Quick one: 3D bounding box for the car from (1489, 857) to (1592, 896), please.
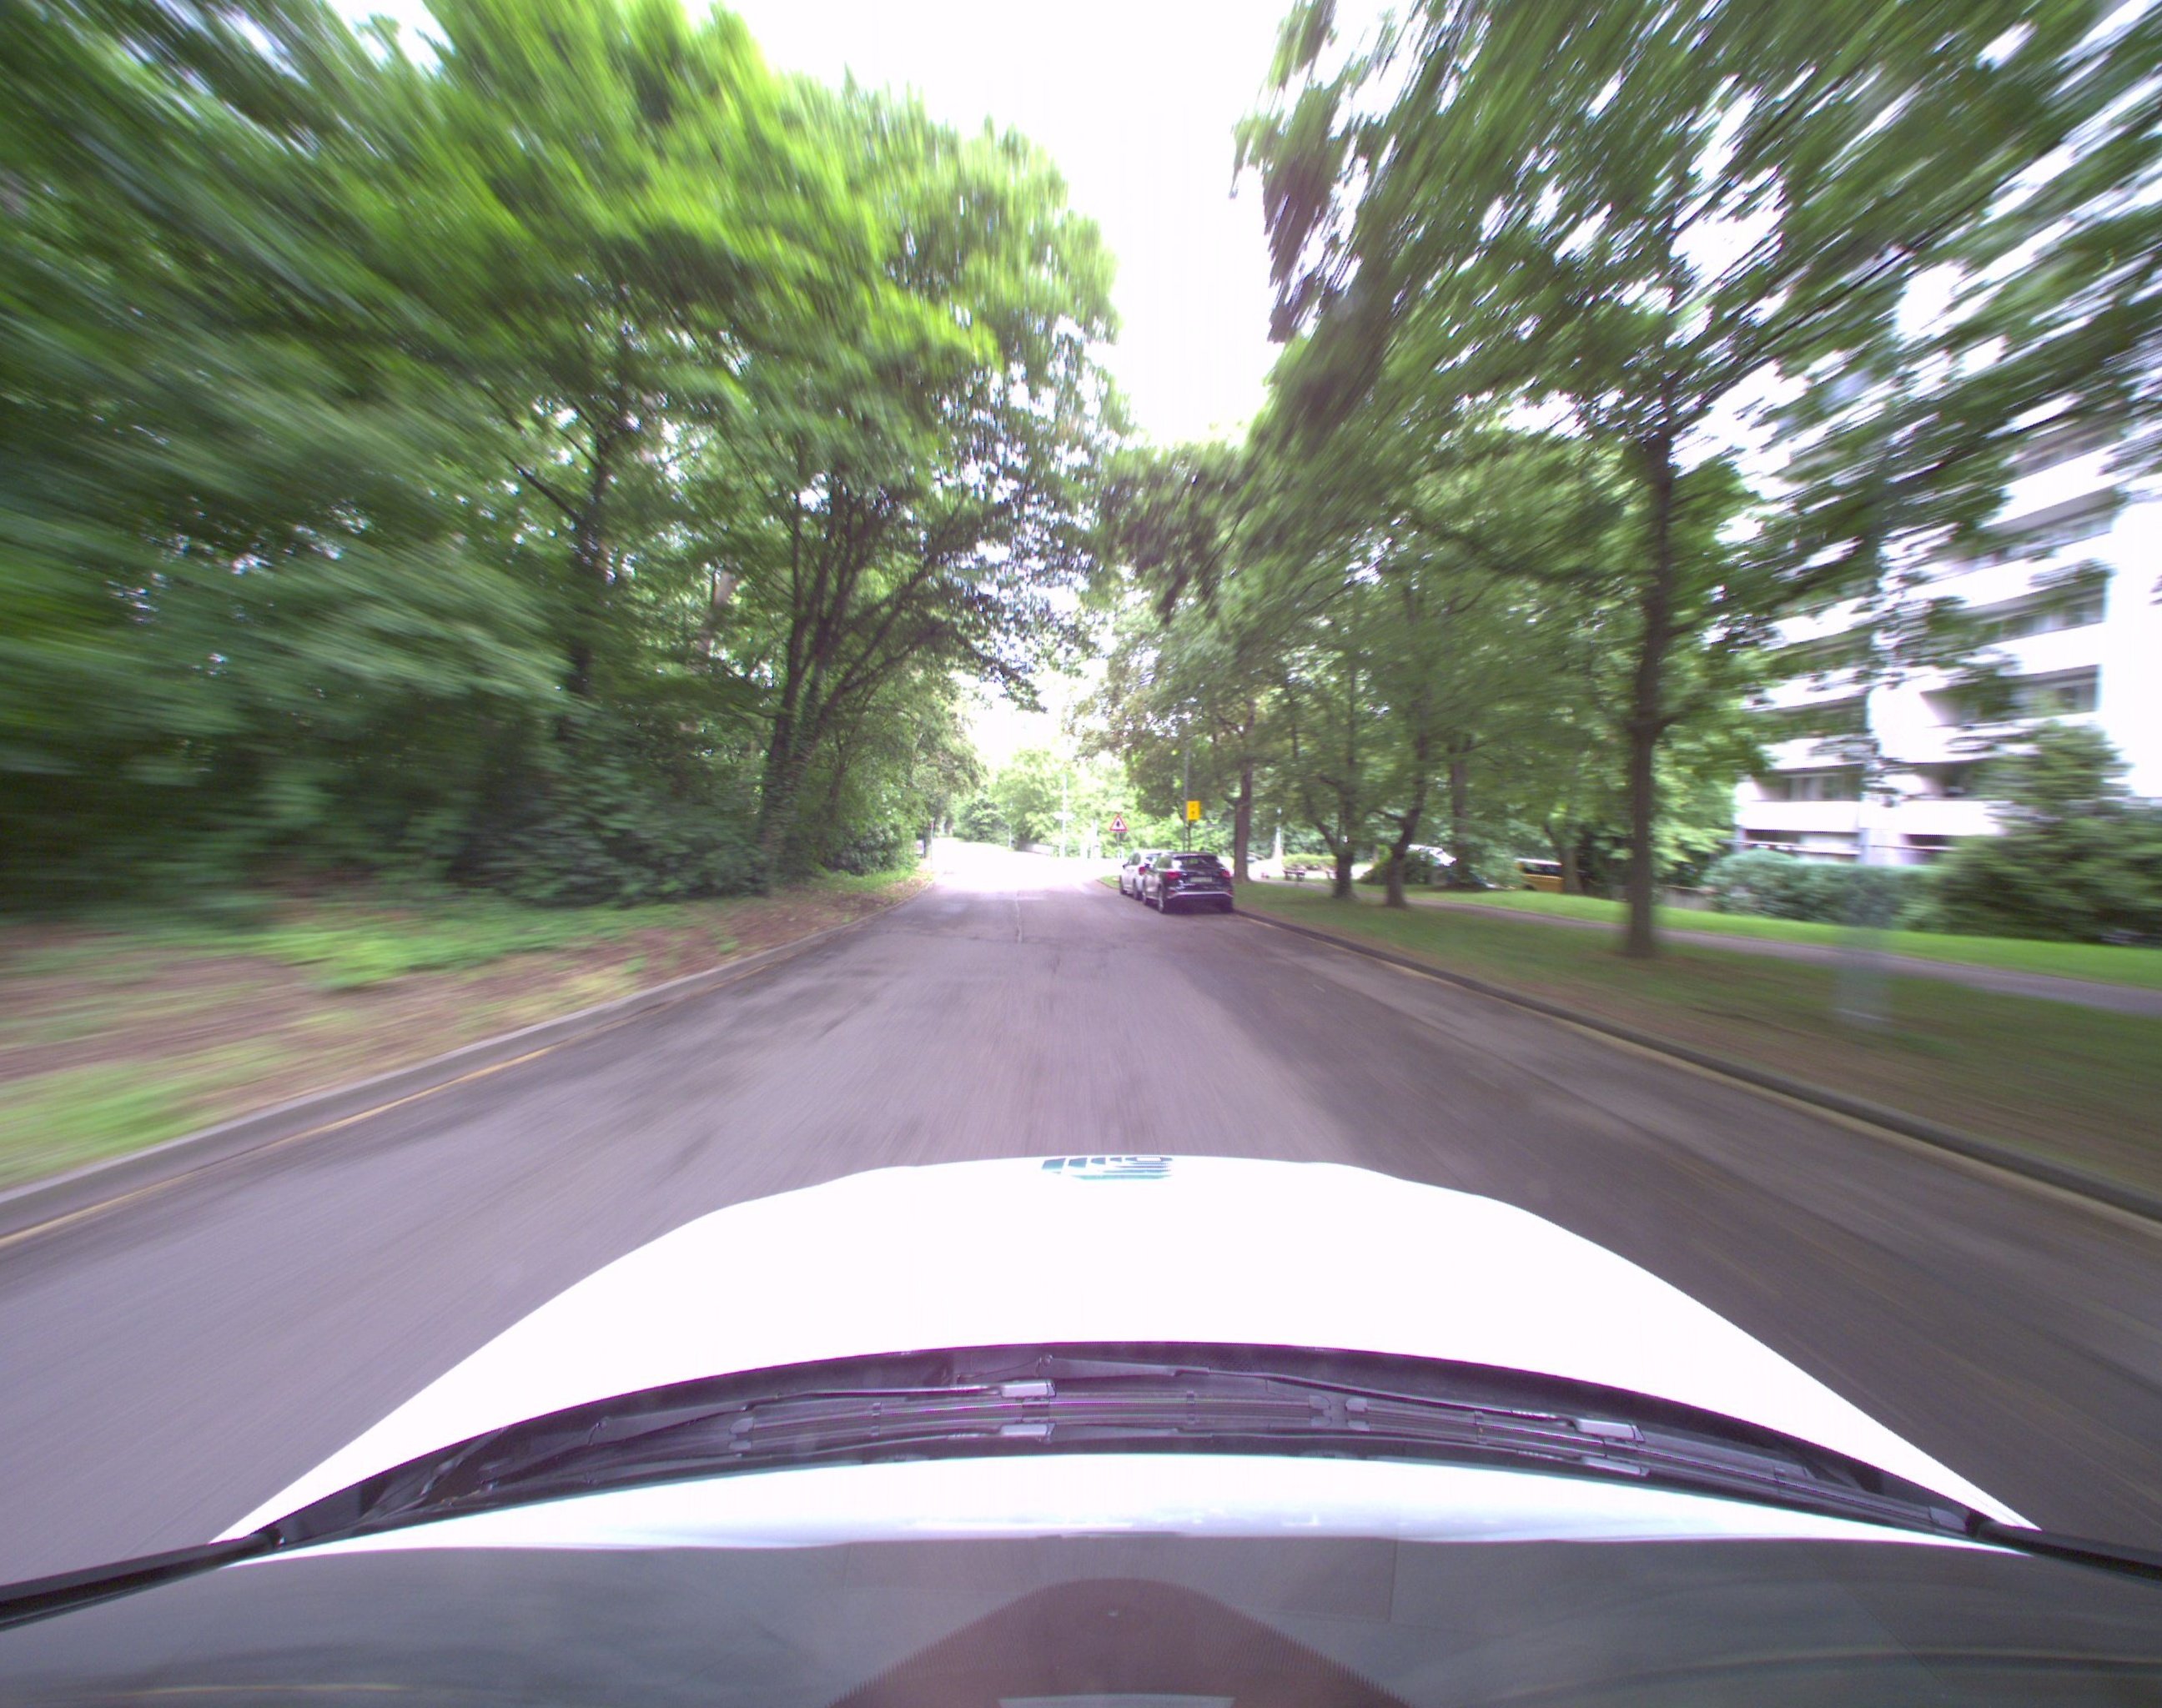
[{"bbox_3d":[24.367,1.169,43.297,4.377,1.848,1.834,2,1,3],"label":"car"}]

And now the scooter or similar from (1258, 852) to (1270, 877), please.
[{"bbox_3d":[9.584,0.527,42.703,0.282,1.286,1.107,1,1,-3],"label":"scooter or similar"}]

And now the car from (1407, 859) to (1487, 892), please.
[{"bbox_3d":[19.644,1.143,43.816,3.498,1.570,1.836,2,1,7],"label":"car"}]

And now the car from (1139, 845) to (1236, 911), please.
[{"bbox_3d":[2.669,0.548,21.339,1.770,1.522,4.178,1,1,-3],"label":"car"}]

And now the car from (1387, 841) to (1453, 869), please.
[{"bbox_3d":[25.618,0.063,61.604,4.193,2.013,2.000,1,1,-1],"label":"car"}]

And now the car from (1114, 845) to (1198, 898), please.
[{"bbox_3d":[2.288,0.489,25.733,1.773,1.522,3.770,1,1,-9],"label":"car"}]
